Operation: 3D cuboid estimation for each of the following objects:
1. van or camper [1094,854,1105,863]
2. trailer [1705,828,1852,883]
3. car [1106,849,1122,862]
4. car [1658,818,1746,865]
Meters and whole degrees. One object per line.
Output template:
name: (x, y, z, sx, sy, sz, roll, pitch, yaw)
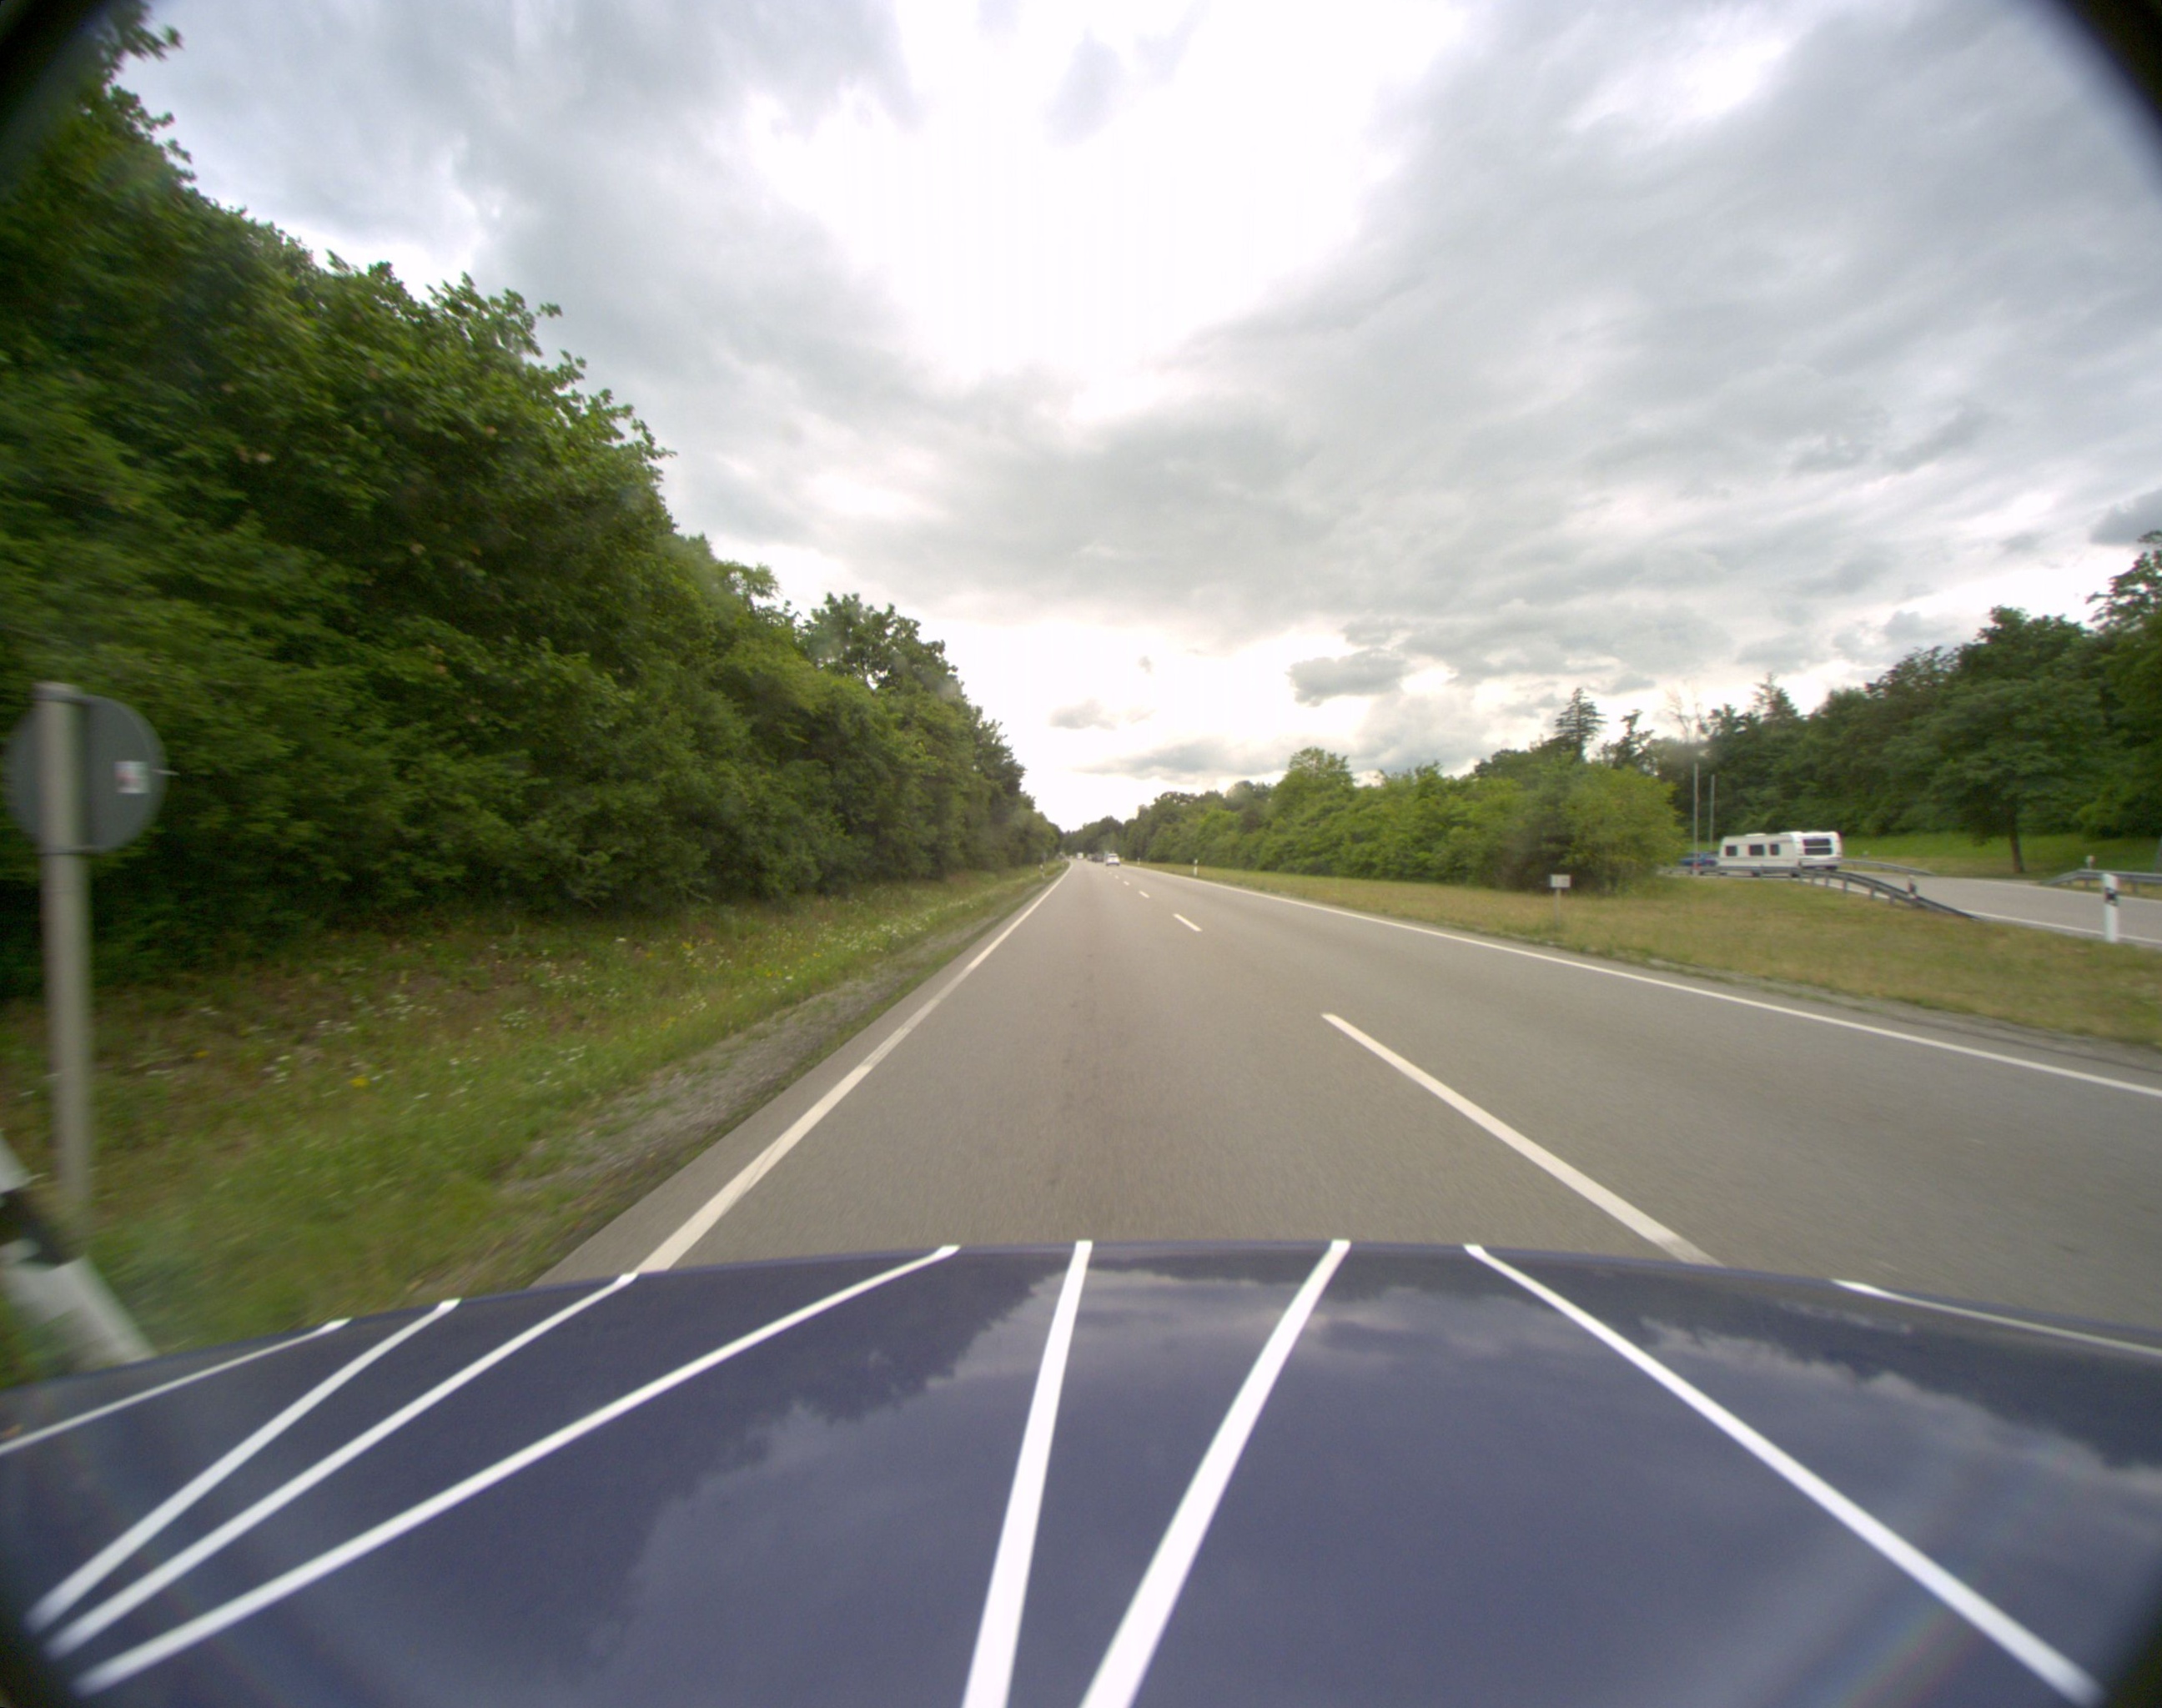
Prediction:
van or camper: (3.929, 0.955, 162.349, 1.999, 1.772, 4.420, -2, 0, -4)
trailer: (41.437, 0.082, 45.533, 2.485, 2.947, 7.396, -2, 0, 5)
car: (4.794, 0.242, 110.680, 1.918, 1.770, 4.612, -2, 0, -1)
car: (41.951, -0.850, 51.525, 2.403, 2.944, 4.602, -2, 0, 5)
